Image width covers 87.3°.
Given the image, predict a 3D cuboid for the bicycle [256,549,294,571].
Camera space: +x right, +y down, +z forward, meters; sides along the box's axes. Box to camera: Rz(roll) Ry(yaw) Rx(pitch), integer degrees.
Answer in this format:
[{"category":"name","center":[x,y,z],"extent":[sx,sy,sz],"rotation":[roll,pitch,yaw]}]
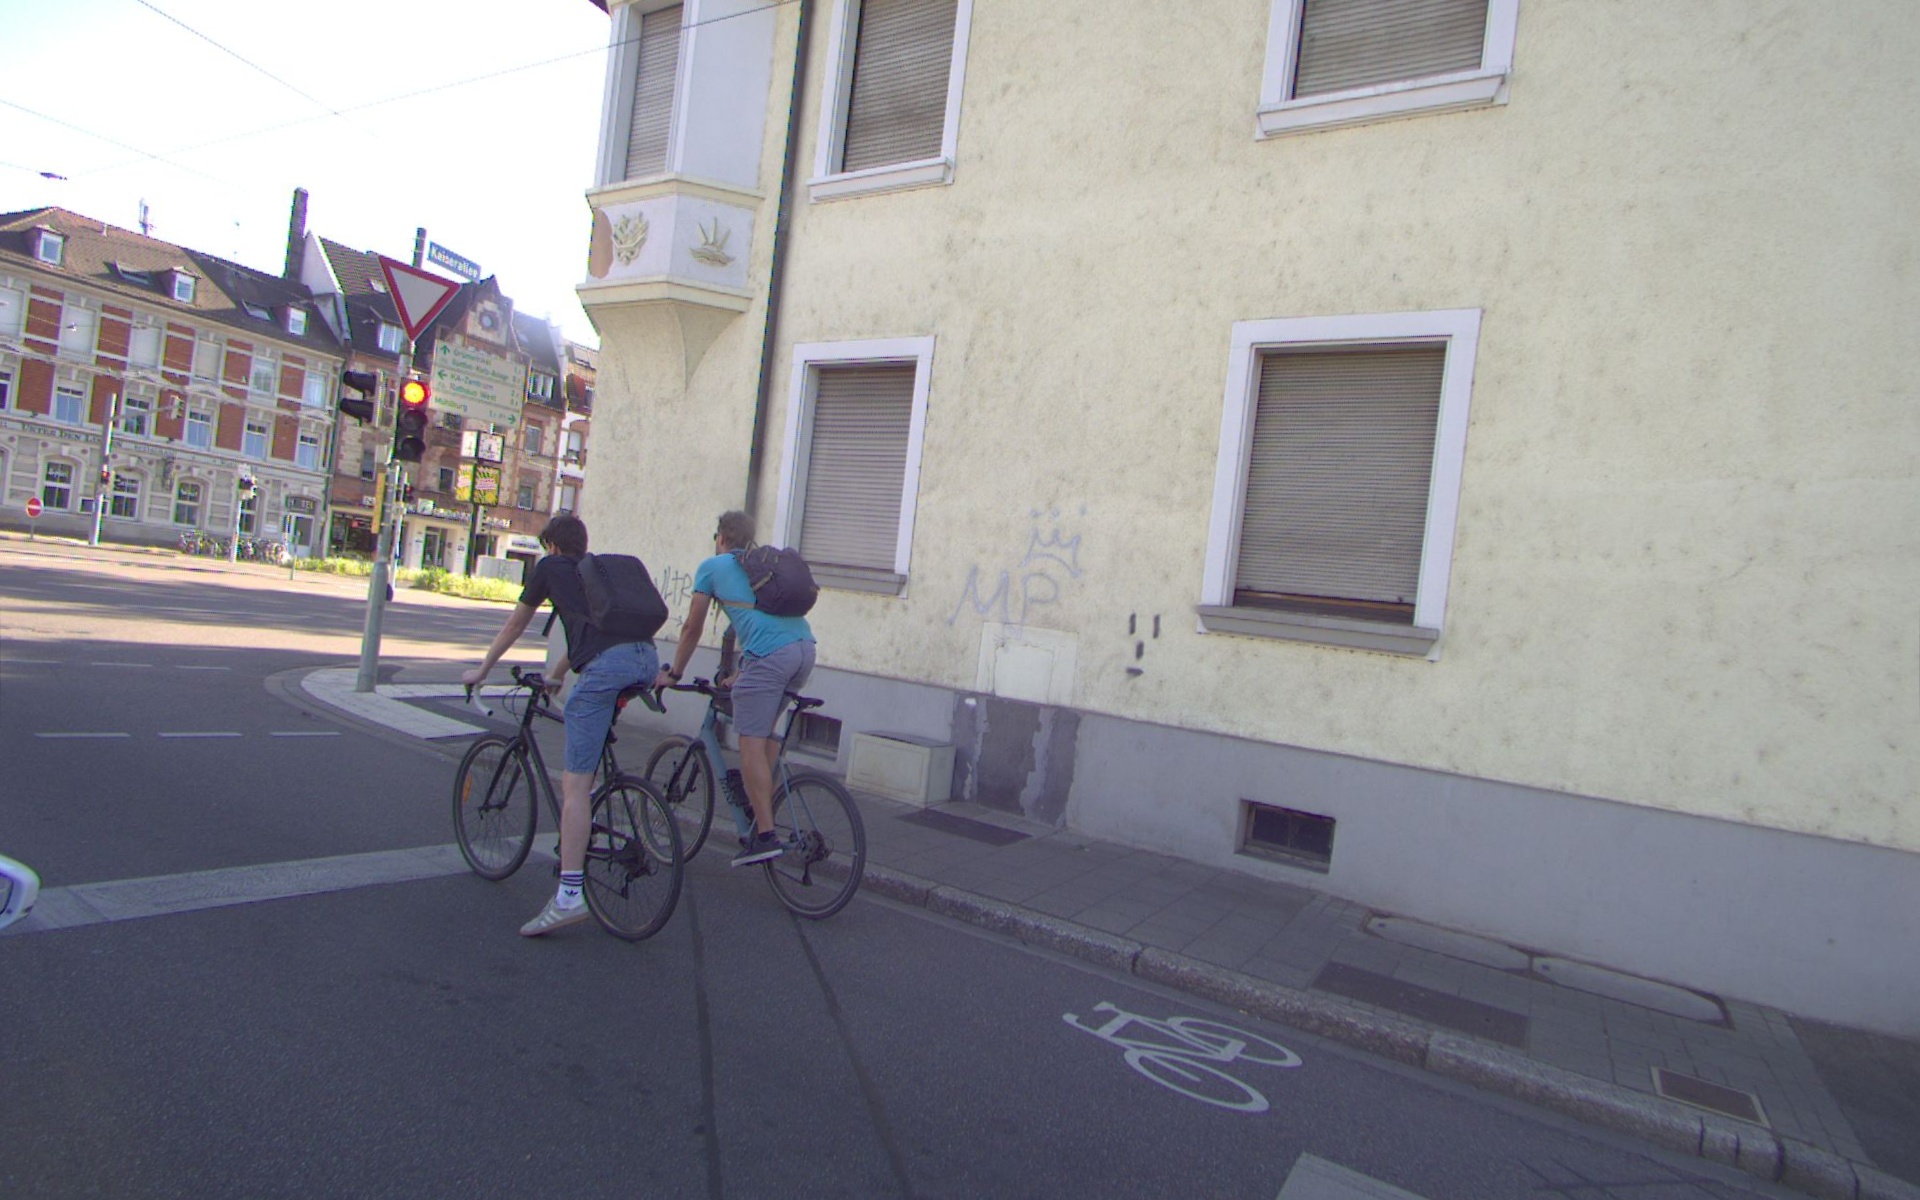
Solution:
[{"category":"bicycle","center":[-33.099,-1.947,48.595],"extent":[2.125,0.850,0.659],"rotation":[6,-2,33]}]

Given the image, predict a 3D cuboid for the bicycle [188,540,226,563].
[{"category":"bicycle","center":[-34.550,-2.236,46.142],"extent":[2.125,0.850,0.659],"rotation":[6,-2,33]}]

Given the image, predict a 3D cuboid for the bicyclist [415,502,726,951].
[{"category":"bicyclist","center":[-1.744,0.493,4.481],"extent":[1.098,1.722,0.573],"rotation":[7,0,32]}]

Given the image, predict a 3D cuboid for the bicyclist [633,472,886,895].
[{"category":"bicyclist","center":[-1.055,0.390,5.230],"extent":[0.930,1.958,0.518],"rotation":[10,2,35]}]

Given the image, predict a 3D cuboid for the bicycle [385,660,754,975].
[{"category":"bicycle","center":[-1.792,0.877,4.502],"extent":[1.721,0.982,0.519],"rotation":[7,0,32]}]

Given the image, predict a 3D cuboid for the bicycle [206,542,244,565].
[{"category":"bicycle","center":[-34.177,-2.162,46.763],"extent":[2.125,0.850,0.659],"rotation":[6,-2,33]}]

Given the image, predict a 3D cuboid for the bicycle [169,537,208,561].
[{"category":"bicycle","center":[-34.867,-2.304,45.475],"extent":[2.125,0.850,0.659],"rotation":[6,-2,33]}]

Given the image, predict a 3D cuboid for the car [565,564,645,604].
[{"category":"car","center":[-23.008,-1.005,65.321],"extent":[1.968,2.038,4.430],"rotation":[7,-1,34]}]

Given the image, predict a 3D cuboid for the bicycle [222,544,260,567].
[{"category":"bicycle","center":[-33.843,-2.094,47.360],"extent":[2.125,0.850,0.659],"rotation":[6,-2,33]}]

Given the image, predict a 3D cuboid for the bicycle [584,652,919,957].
[{"category":"bicycle","center":[-1.139,0.971,5.241],"extent":[1.767,1.104,0.518],"rotation":[9,1,35]}]

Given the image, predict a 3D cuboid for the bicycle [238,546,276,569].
[{"category":"bicycle","center":[-33.487,-2.026,47.890],"extent":[2.125,0.850,0.659],"rotation":[6,-2,33]}]
